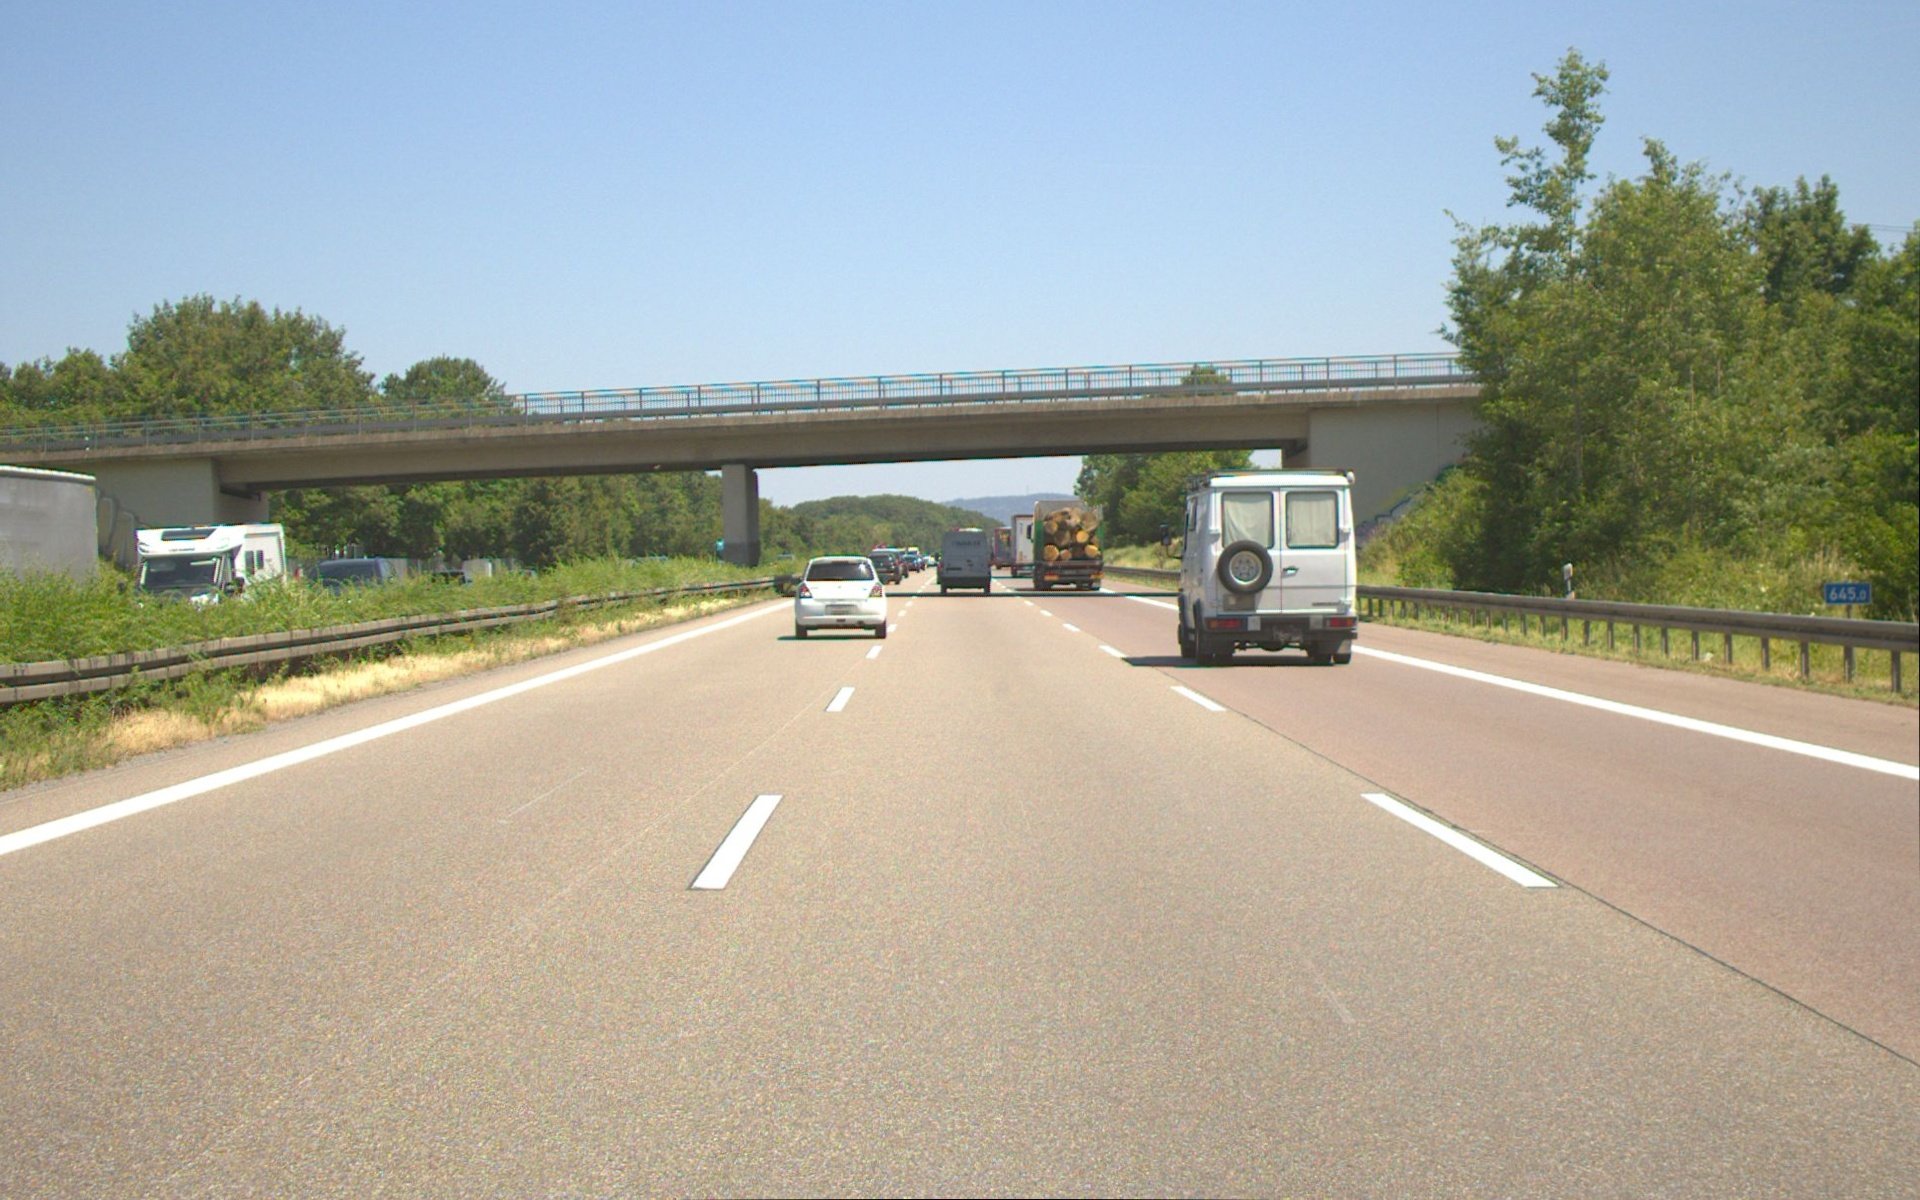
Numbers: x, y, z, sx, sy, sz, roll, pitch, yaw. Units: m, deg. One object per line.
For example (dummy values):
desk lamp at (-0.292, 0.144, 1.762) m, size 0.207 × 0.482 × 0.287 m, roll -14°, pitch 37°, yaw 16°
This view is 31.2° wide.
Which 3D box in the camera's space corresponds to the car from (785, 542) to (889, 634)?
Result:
car at (-2.263, -0.242, 64.077) m, size 1.857 × 1.646 × 4.000 m, roll 1°, pitch 1°, yaw -1°

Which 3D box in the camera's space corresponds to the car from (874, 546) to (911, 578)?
car at (-3.463, -1.938, 176.133) m, size 1.857 × 1.646 × 4.000 m, roll 0°, pitch 1°, yaw -1°

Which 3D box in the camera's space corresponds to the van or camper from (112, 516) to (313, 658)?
van or camper at (-16.479, -0.315, 76.316) m, size 2.613 × 2.956 × 7.859 m, roll 1°, pitch 1°, yaw 1°

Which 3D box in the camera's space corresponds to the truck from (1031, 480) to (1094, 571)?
truck at (4.543, -3.295, 153.859) m, size 2.670 × 3.981 × 6.636 m, roll 0°, pitch 1°, yaw 1°

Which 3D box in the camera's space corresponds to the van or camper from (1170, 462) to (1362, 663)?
van or camper at (4.284, -0.534, 49.197) m, size 2.113 × 2.694 × 6.368 m, roll 0°, pitch 1°, yaw -1°

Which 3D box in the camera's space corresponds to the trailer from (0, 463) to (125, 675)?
trailer at (-20.648, -0.663, 70.940) m, size 3.144 × 4.234 × 14.479 m, roll 1°, pitch 1°, yaw 0°

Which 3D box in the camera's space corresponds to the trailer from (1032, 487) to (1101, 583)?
trailer at (4.494, -2.739, 146.911) m, size 2.653 × 3.945 × 13.636 m, roll 0°, pitch 1°, yaw 1°

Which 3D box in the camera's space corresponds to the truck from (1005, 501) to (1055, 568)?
truck at (4.578, -4.214, 225.697) m, size 3.079 × 4.194 × 16.843 m, roll 1°, pitch 1°, yaw 1°

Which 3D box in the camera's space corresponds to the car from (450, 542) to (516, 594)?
car at (-19.199, -1.303, 138.527) m, size 1.993 × 2.007 × 4.000 m, roll -1°, pitch 1°, yaw 1°

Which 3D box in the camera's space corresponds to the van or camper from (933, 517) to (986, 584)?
van or camper at (0.003, -1.992, 138.132) m, size 2.058 × 2.613 × 5.985 m, roll 0°, pitch 1°, yaw 0°
